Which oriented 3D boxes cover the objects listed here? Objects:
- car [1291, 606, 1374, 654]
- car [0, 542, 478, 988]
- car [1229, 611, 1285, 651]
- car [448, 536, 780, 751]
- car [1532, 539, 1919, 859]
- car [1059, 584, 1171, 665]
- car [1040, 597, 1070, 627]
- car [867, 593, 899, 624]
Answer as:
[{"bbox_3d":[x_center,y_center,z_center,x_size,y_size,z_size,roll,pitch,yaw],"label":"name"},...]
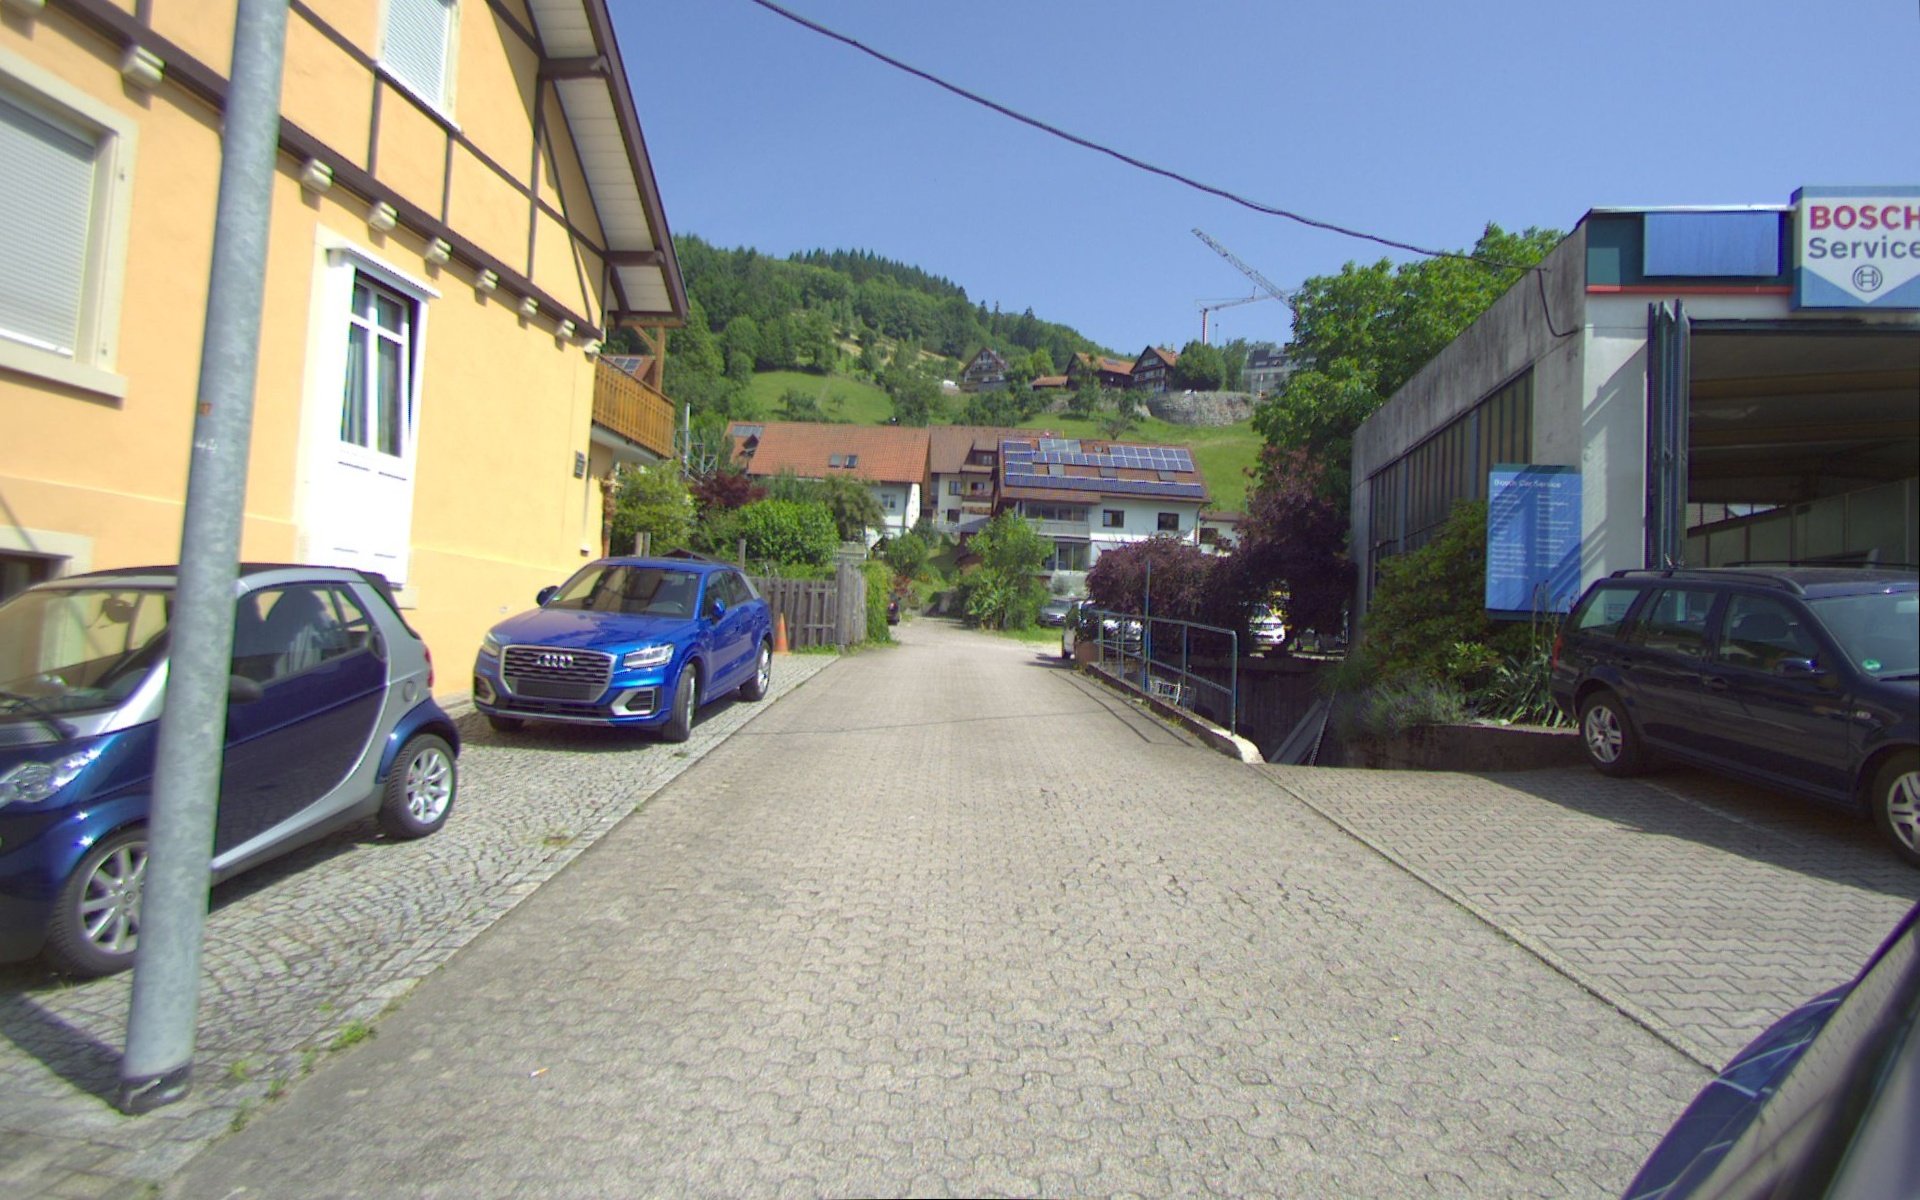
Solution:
[{"bbox_3d":[13.293,1.037,36.335,1.649,1.574,3.908,0,0,2],"label":"car"},{"bbox_3d":[-3.749,0.512,4.887,1.400,1.555,2.660,-1,3,5],"label":"car"},{"bbox_3d":[10.887,1.098,37.225,1.443,1.274,3.380,2,1,8],"label":"car"},{"bbox_3d":[-3.067,0.319,9.888,1.703,1.646,3.931,1,0,3],"label":"car"},{"bbox_3d":[5.560,0.452,6.068,1.766,1.564,4.331,-1,1,0],"label":"car"},{"bbox_3d":[3.417,0.479,23.241,1.963,1.665,4.875,0,0,2],"label":"car"},{"bbox_3d":[4.517,0.549,48.527,1.320,1.388,3.211,0,0,3],"label":"car"},{"bbox_3d":[-3.071,0.314,40.515,1.091,1.077,2.866,4,1,-2],"label":"car"}]
